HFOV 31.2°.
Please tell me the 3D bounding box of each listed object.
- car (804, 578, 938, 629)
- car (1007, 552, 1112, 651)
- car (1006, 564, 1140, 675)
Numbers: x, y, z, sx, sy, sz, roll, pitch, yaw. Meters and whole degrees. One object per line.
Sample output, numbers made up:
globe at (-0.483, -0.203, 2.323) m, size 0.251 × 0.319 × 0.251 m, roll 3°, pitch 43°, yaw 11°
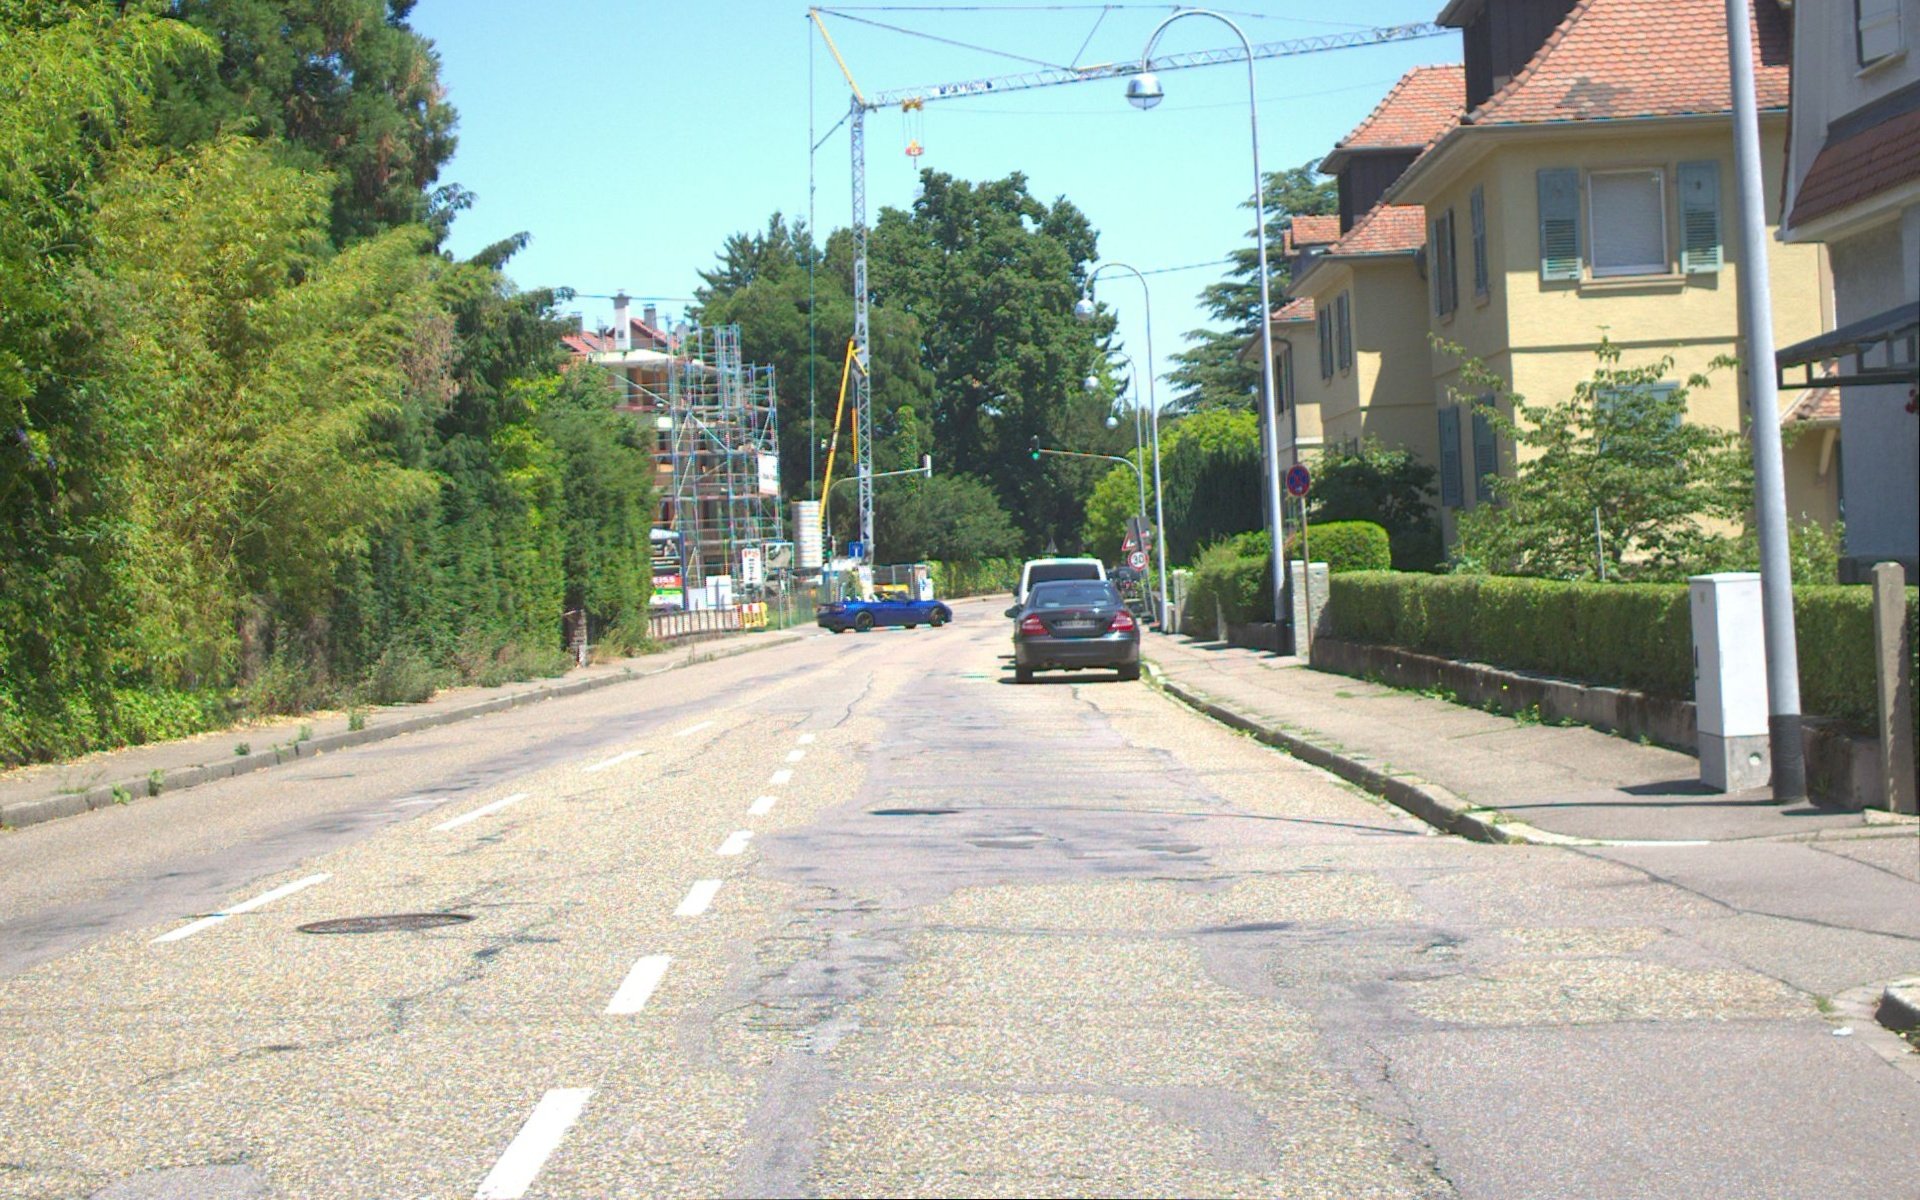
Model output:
car at (-2.997, 0.115, 115.605) m, size 3.987 × 1.463 × 1.965 m, roll -4°, pitch 2°, yaw -29°
car at (1.941, 0.018, 68.261) m, size 1.993 × 1.894 × 4.822 m, roll -1°, pitch 0°, yaw 1°
car at (1.549, 0.261, 48.342) m, size 1.693 × 1.414 × 4.551 m, roll -2°, pitch 0°, yaw 0°
